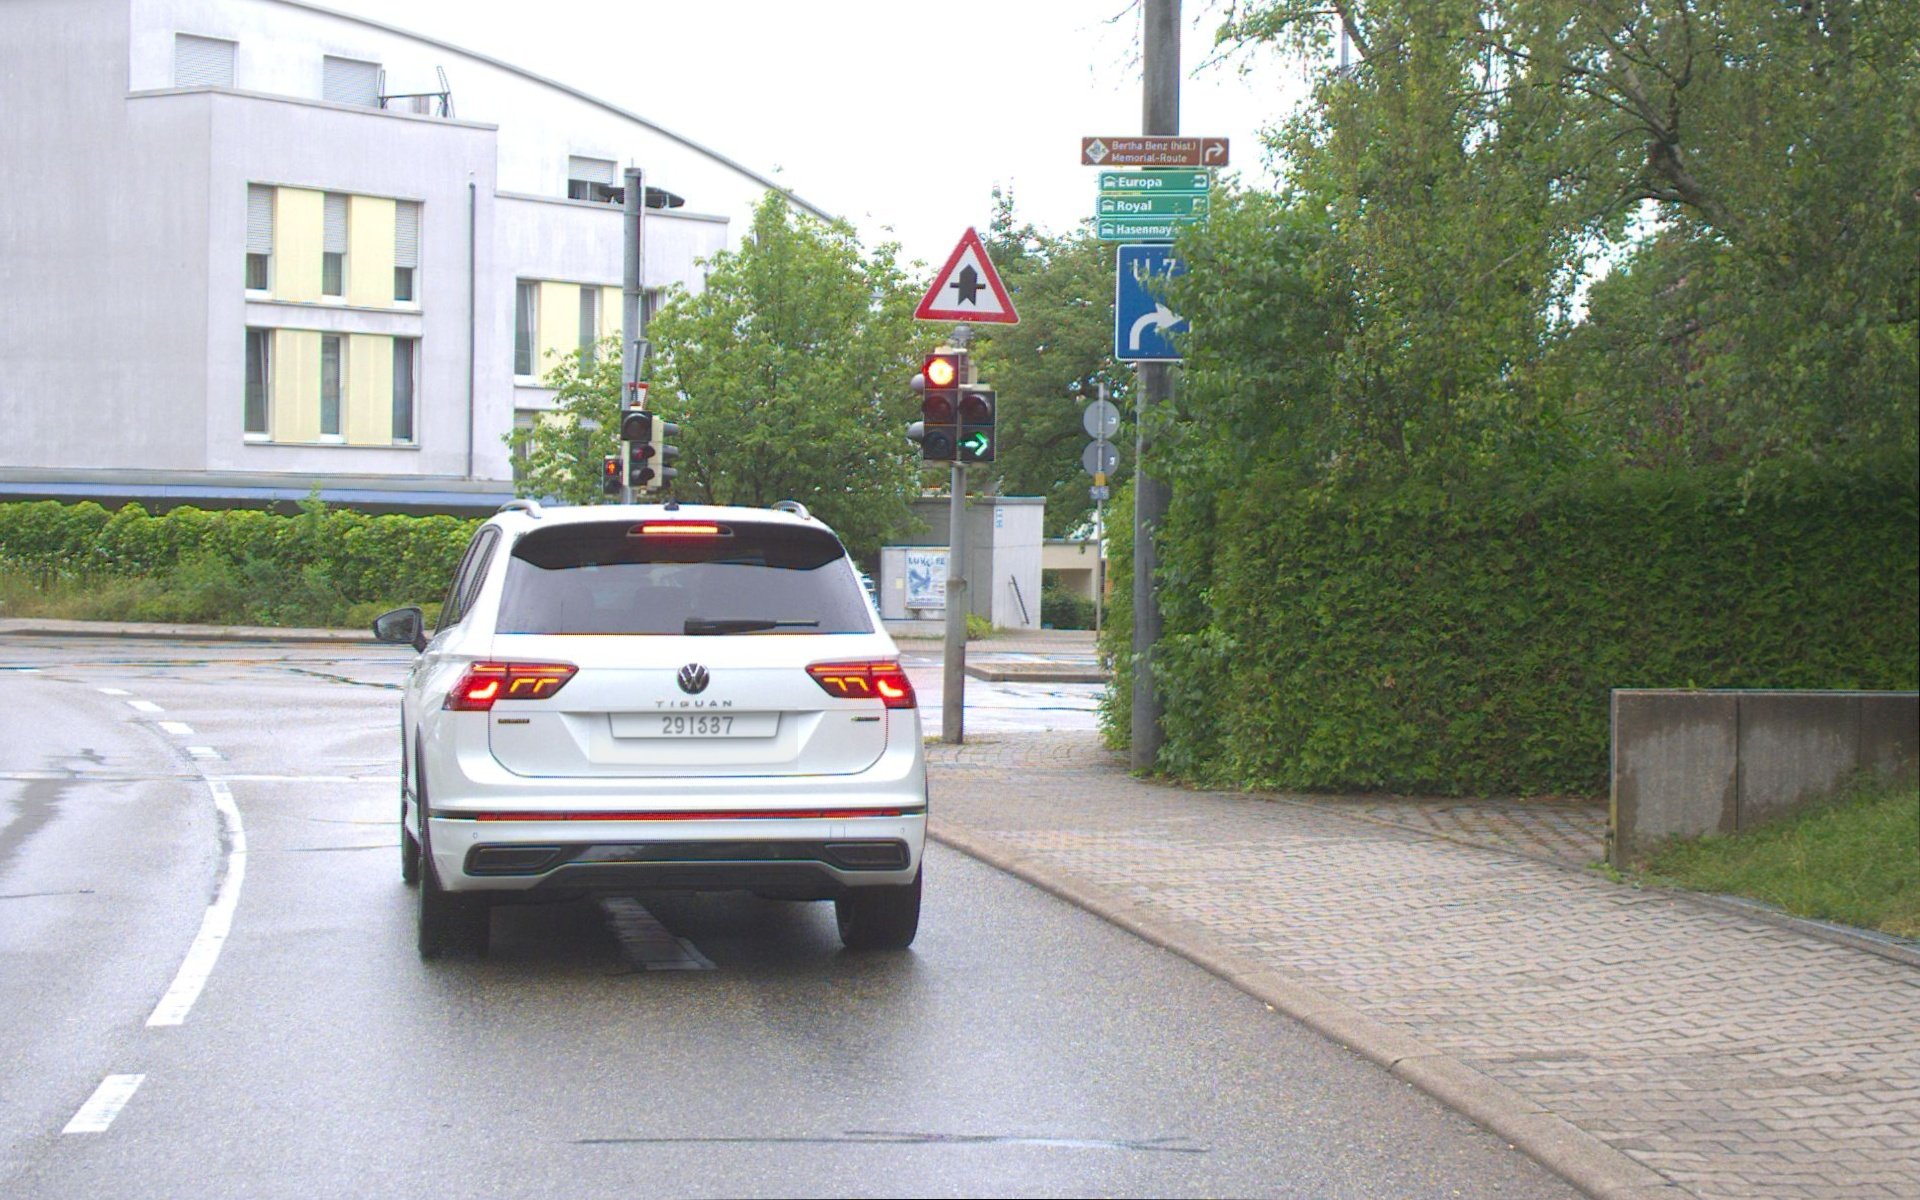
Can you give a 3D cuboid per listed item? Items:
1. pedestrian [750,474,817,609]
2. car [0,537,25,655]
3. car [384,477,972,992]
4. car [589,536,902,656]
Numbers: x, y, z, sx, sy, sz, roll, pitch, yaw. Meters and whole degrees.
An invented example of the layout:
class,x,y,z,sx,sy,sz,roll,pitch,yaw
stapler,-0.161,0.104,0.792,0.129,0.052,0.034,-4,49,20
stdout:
class,x,y,z,sx,sy,sz,roll,pitch,yaw
pedestrian,-2.709,-0.908,52.791,0.799,2.006,0.849,2,3,11
car,-16.521,-0.190,52.351,3.993,1.752,1.997,5,4,25
car,-1.292,0.438,13.727,1.920,1.716,4.266,1,1,-10
car,-2.995,-0.078,48.377,3.989,1.550,1.999,1,2,12
